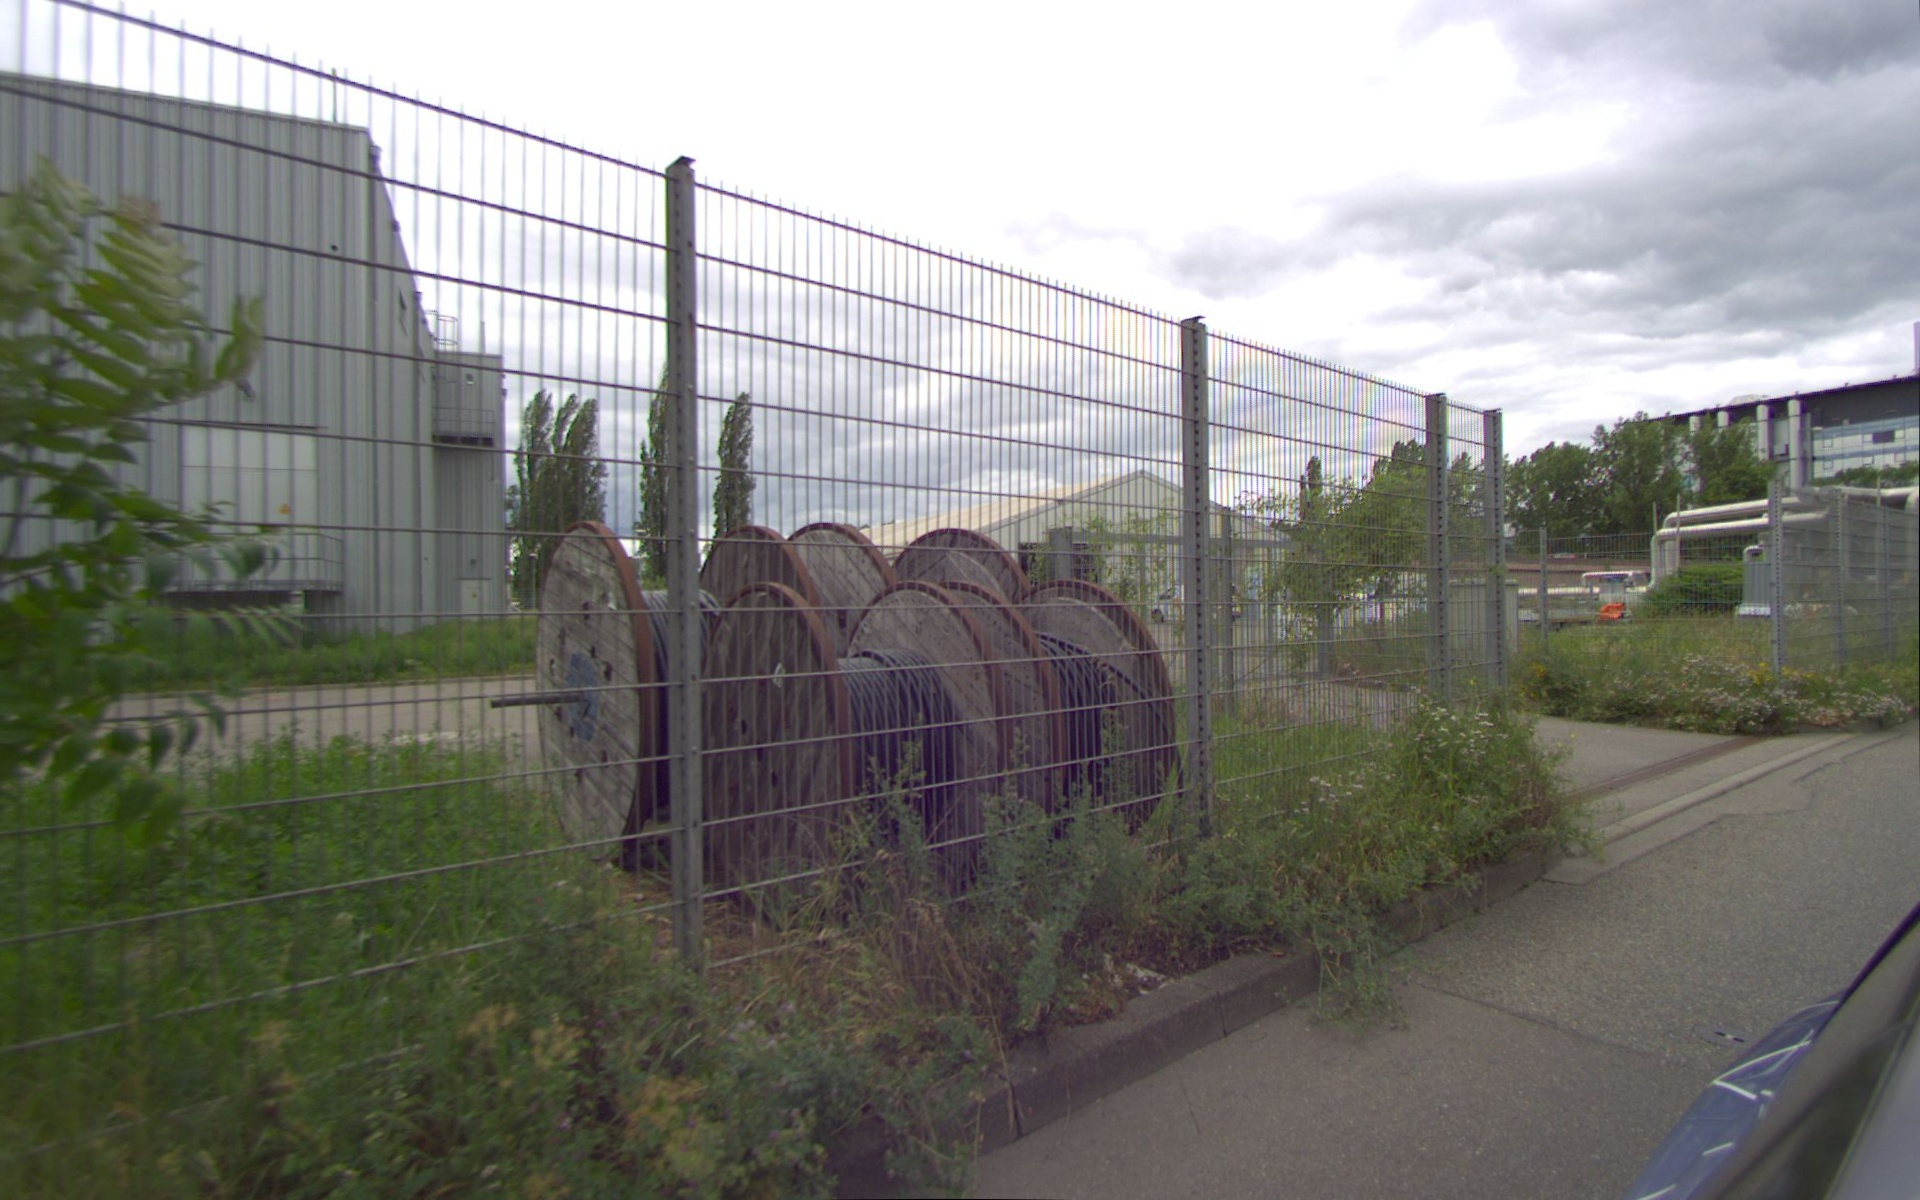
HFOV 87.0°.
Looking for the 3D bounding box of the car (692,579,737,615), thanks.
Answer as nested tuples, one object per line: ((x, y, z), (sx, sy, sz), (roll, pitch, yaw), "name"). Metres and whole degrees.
((-18.984, -0.250, 78.109), (2.442, 2.680, 5.359), (-1, 0, -24), "car")

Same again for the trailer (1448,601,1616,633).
((17.555, 0.495, 31.065), (4.593, 0.826, 2.309), (-1, 1, -26), "trailer")

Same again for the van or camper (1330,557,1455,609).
((22.593, -0.909, 52.846), (5.999, 2.580, 2.580), (-1, 0, -24), "van or camper")

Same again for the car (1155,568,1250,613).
((11.613, -0.453, 48.708), (1.960, 2.039, 4.344), (-1, 0, -30), "car")
